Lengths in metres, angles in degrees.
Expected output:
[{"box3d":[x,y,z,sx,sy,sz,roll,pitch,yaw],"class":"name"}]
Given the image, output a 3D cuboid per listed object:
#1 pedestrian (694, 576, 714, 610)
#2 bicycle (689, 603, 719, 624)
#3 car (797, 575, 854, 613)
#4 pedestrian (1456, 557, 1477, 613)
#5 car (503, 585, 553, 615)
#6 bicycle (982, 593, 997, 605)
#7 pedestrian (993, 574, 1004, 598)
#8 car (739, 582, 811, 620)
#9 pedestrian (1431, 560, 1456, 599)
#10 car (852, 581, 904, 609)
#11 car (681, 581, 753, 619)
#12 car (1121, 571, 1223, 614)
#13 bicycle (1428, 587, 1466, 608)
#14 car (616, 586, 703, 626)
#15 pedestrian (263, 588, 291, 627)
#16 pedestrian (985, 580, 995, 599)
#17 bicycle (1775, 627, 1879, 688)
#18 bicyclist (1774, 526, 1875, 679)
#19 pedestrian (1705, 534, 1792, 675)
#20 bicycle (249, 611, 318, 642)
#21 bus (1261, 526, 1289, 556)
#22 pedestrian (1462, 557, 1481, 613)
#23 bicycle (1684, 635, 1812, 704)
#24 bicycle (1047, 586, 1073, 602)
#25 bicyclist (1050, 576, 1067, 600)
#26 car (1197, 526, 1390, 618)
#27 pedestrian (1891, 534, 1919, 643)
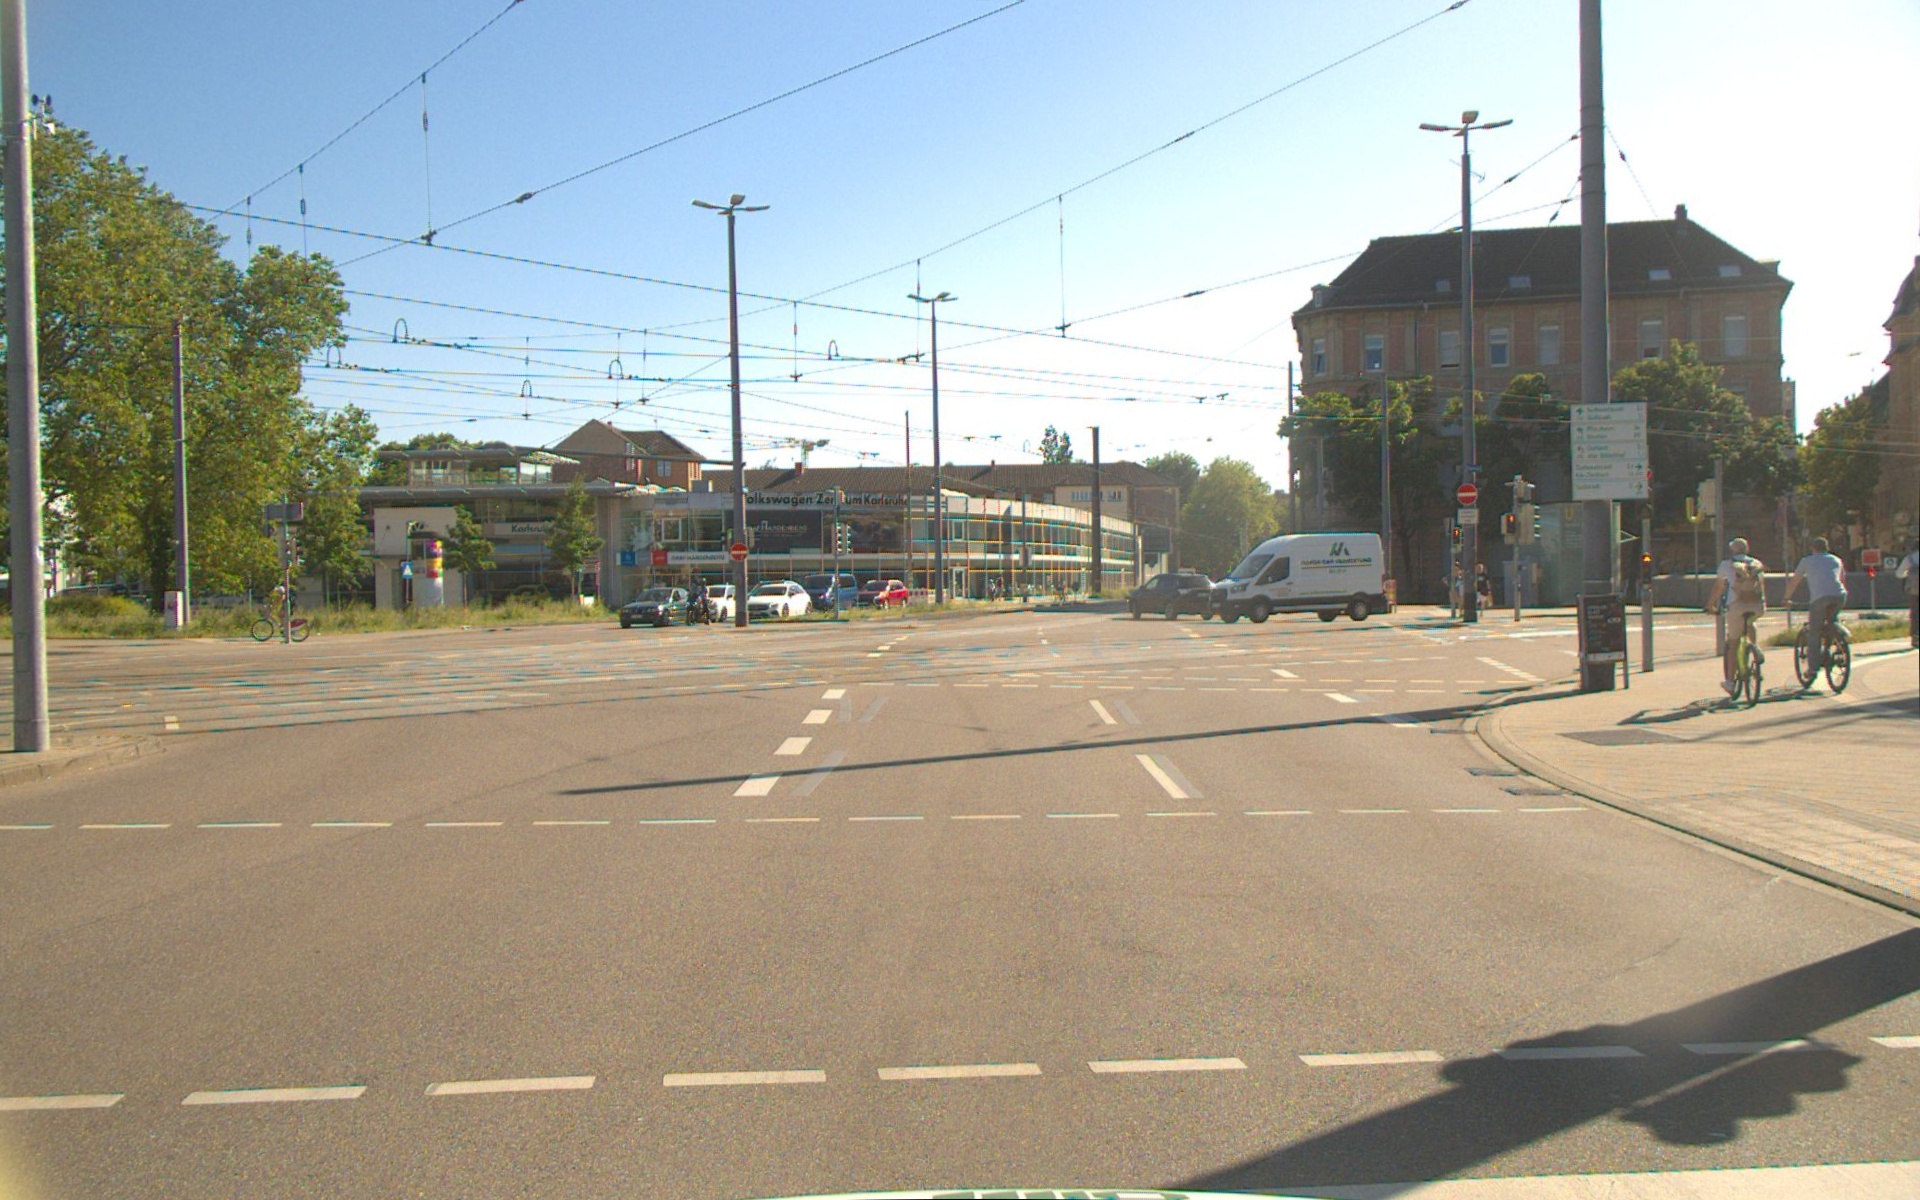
[{"box3d":[-9.335,-0.250,60.355,0.413,1.225,0.750,-1,0,16],"class":"pedestrian"},{"box3d":[-9.338,0.492,60.296,0.413,0.730,1.636,-1,1,16],"class":"bicycle"},{"box3d":[-6.407,-0.297,78.883,1.591,1.722,3.689,-1,1,14],"class":"car"},{"box3d":[18.482,-0.552,60.384,0.564,2.049,0.449,-1,1,-19],"class":"pedestrian"},{"box3d":[-25.953,-0.036,99.503,1.926,1.735,4.083,-1,1,-1],"class":"car"},{"box3d":[1.935,-0.048,107.014,0.414,0.730,1.474,-1,1,25],"class":"bicycle"},{"box3d":[2.749,-1.008,117.287,0.532,1.718,0.629,-1,0,26],"class":"pedestrian"},{"box3d":[-7.222,0.023,64.854,1.591,1.406,3.741,-1,1,14],"class":"car"},{"box3d":[20.465,-0.860,70.018,0.713,1.660,0.746,-1,0,-45],"class":"pedestrian"},{"box3d":[-4.227,-0.266,86.042,1.591,1.388,3.688,-1,1,16],"class":"car"},{"box3d":[-9.774,-0.006,66.698,1.591,1.448,3.689,-1,1,14],"class":"car"},{"box3d":[7.859,-0.285,61.649,1.679,1.529,4.226,-1,1,-27],"class":"car"},{"box3d":[20.694,-0.117,70.243,0.733,0.885,1.917,0,1,45],"class":"bicycle"},{"box3d":[-10.999,0.192,60.724,1.667,1.378,3.703,-1,1,16],"class":"car"},{"box3d":[-21.553,0.238,52.190,0.782,1.225,0.557,-1,0,-21],"class":"pedestrian"},{"box3d":[1.937,-0.700,107.028,0.414,1.225,0.680,-1,0,25],"class":"pedestrian"},{"box3d":[10.667,0.695,20.389,0.526,0.667,1.468,-2,1,2],"class":"bicycle"},{"box3d":[10.646,0.025,20.402,0.731,1.809,0.924,-2,0,2],"class":"bicyclist"},{"box3d":[9.086,0.046,19.084,0.537,1.590,0.857,-1,0,-4],"class":"pedestrian"},{"box3d":[-21.367,0.833,52.262,1.976,0.929,0.559,-1,0,-22],"class":"bicycle"},{"box3d":[47.492,-8.736,248.766,3.754,3.670,24.887,1,0,12],"class":"bus"},{"box3d":[18.876,-0.540,61.015,0.453,2.049,0.449,-1,1,-18],"class":"pedestrian"},{"box3d":[9.096,0.786,19.155,0.526,0.667,1.724,-4,1,-4],"class":"bicycle"},{"box3d":[6.965,-0.437,115.079,0.795,1.063,2.121,-1,1,34],"class":"bicycle"},{"box3d":[6.847,-0.856,114.810,0.795,1.652,0.926,-1,0,34],"class":"bicyclist"},{"box3d":[10.620,-0.903,52.586,5.822,2.792,2.130,-1,0,-22],"class":"car"},{"box3d":[16.834,-0.207,28.939,0.880,1.892,0.924,-1,0,34],"class":"pedestrian"}]
